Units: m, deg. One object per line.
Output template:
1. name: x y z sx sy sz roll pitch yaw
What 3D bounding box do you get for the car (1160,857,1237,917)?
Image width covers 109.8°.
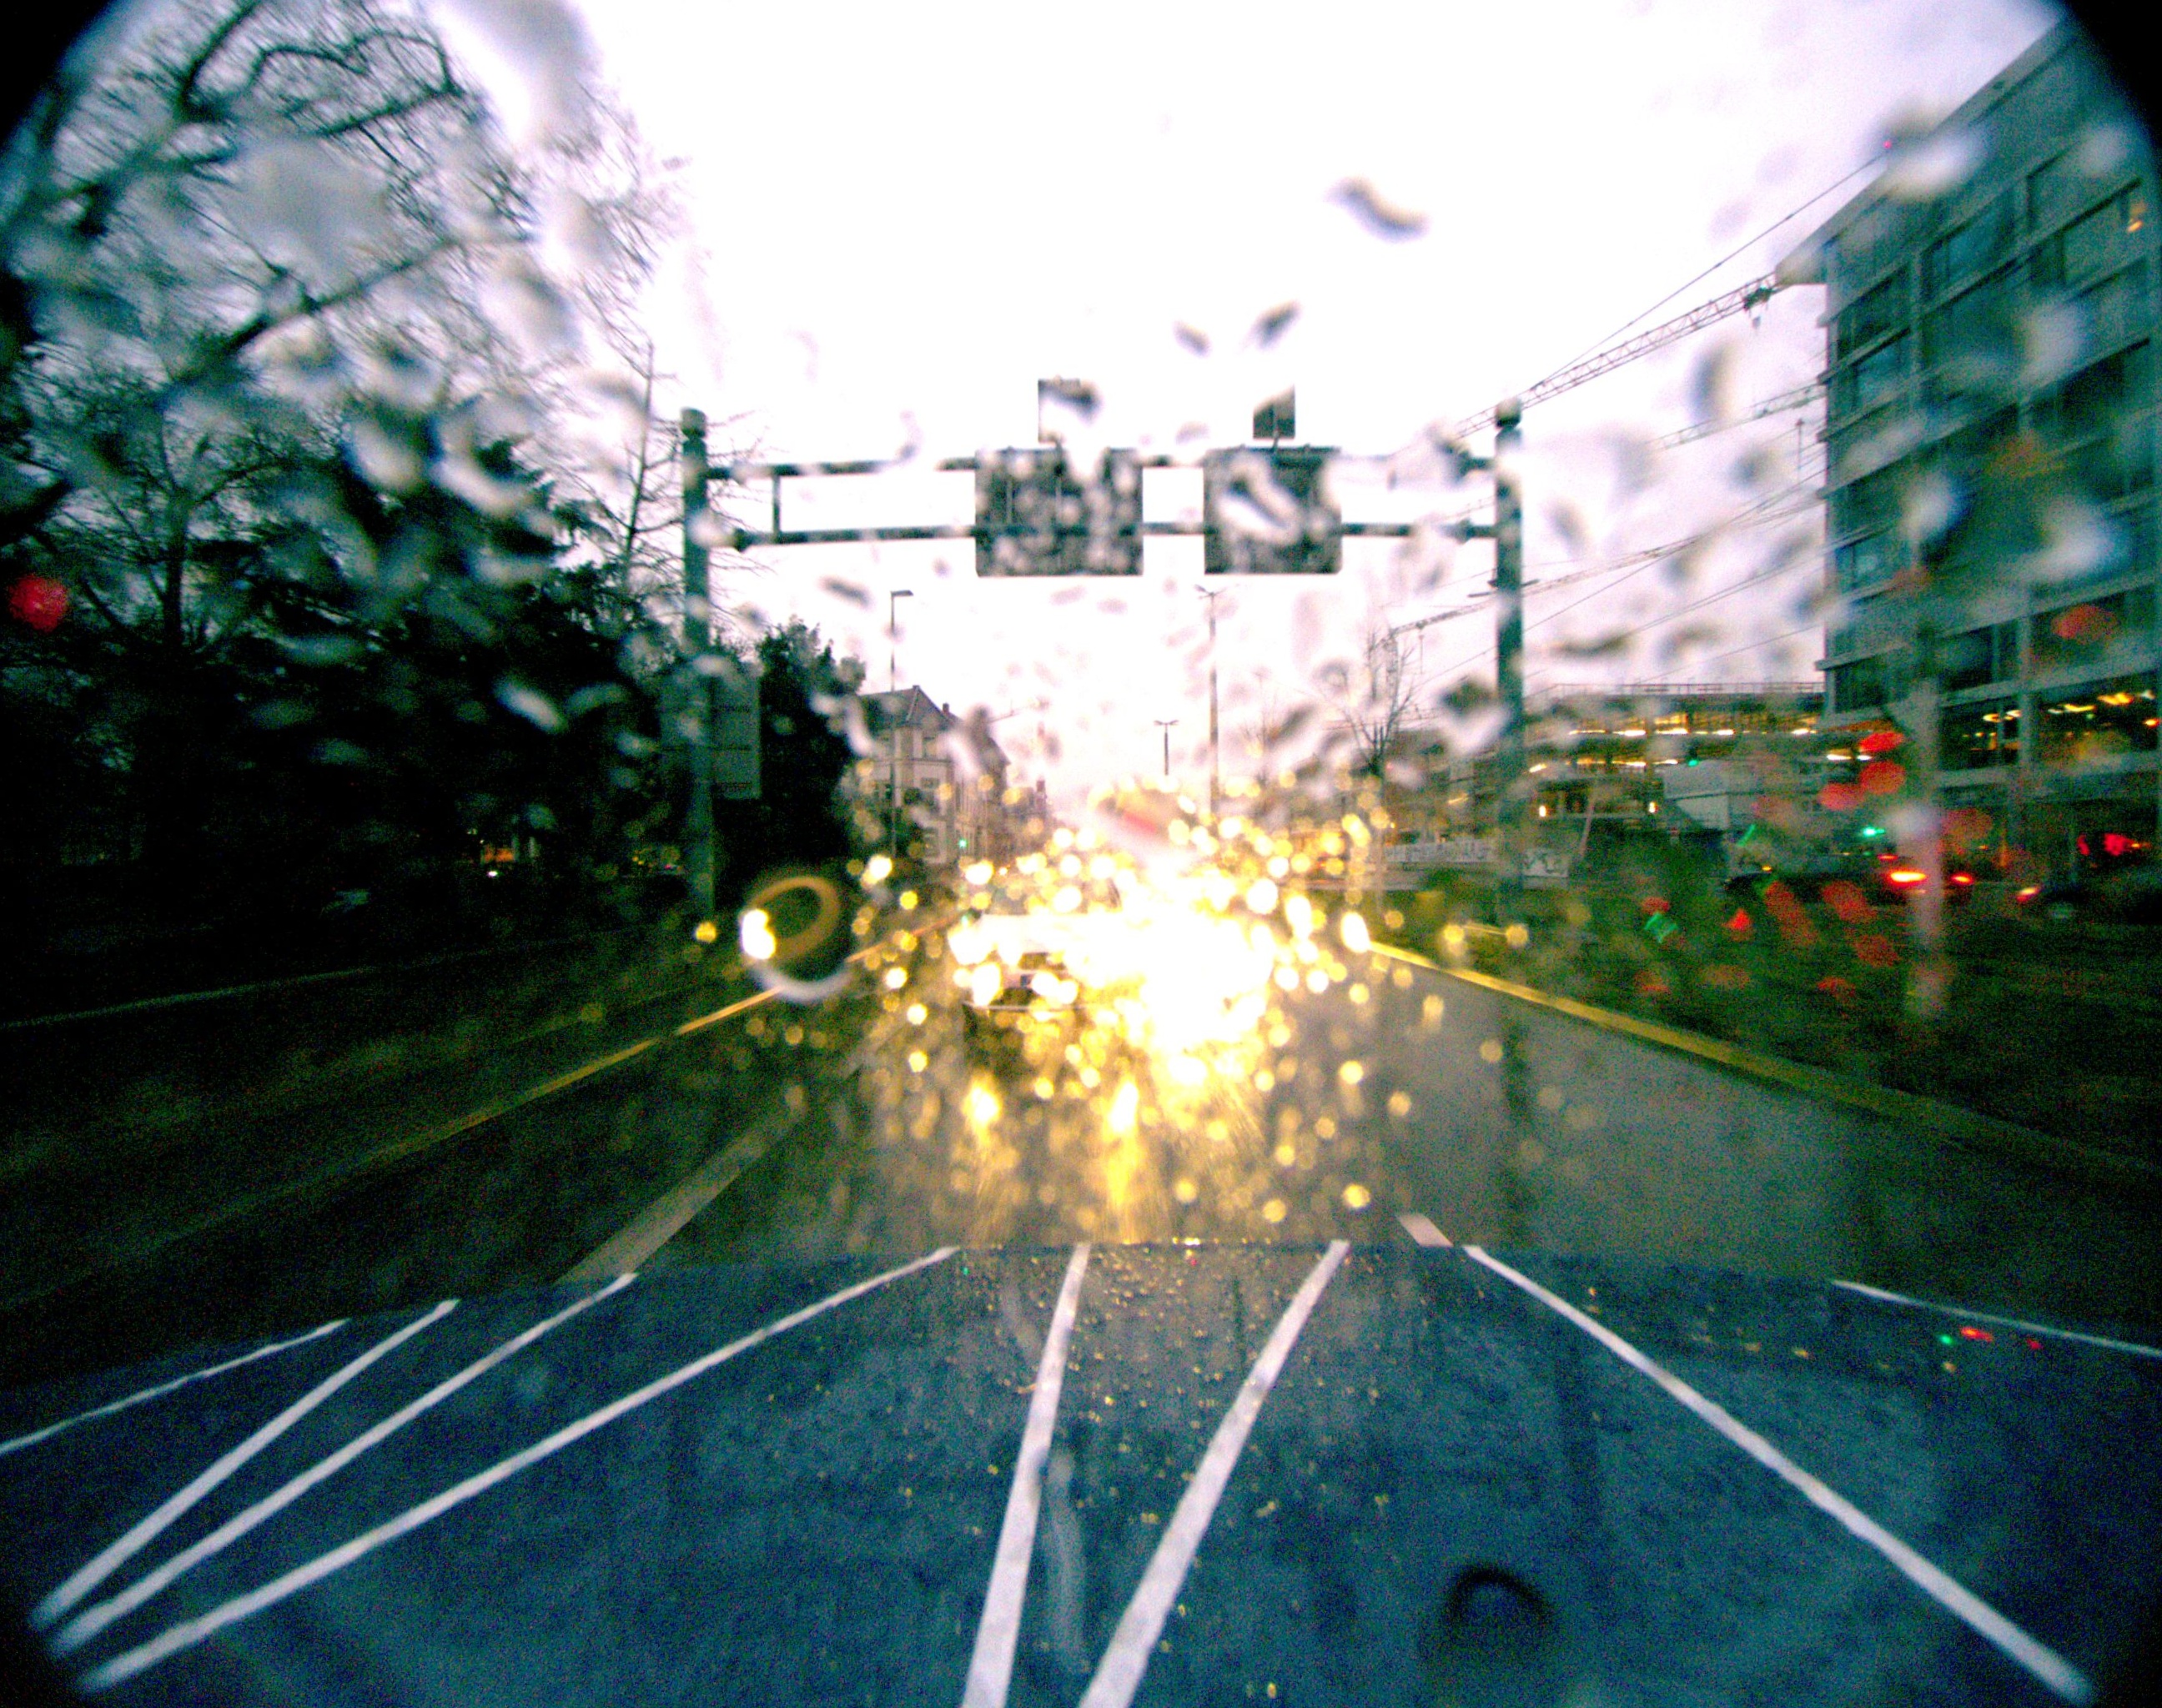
1. car: 3.133 0.831 20.845 1.766 1.363 3.982 -2 1 5

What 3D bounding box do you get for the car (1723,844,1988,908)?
1. car: 20.104 0.509 20.163 1.998 1.459 5.034 -1 0 1

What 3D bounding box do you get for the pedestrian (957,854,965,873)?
1. pedestrian: -9.634 0.774 60.897 0.520 1.501 0.588 0 1 6

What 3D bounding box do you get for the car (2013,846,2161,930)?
1. car: 20.237 0.597 13.354 2.001 1.488 4.444 -1 0 -15

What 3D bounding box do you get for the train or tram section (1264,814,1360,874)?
1. train or tram section: 15.205 -0.569 51.413 2.963 3.466 14.269 -1 0 3

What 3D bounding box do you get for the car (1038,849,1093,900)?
1. car: -0.524 0.675 27.625 1.781 1.666 3.981 -2 1 0

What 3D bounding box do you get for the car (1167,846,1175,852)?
1. car: 29.470 -1.746 249.154 1.998 2.002 4.000 -1 0 1

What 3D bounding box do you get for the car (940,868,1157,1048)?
1. car: -0.276 0.925 8.473 1.798 1.363 3.981 -2 1 0

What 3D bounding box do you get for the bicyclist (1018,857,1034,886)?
1. bicyclist: -2.670 0.839 36.745 0.647 1.381 0.890 -1 1 2

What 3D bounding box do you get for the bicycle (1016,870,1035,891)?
1. bicycle: -2.675 1.269 36.770 0.647 0.961 2.046 -1 0 2

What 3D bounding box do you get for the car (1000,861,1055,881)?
1. car: -4.171 1.297 59.330 4.008 1.403 1.871 -1 0 -44

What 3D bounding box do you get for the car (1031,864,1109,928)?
1. car: -0.257 0.977 19.331 1.728 1.318 3.981 -2 1 0

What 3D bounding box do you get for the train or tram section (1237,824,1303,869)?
1. train or tram section: 16.022 -0.604 65.627 2.963 3.466 14.321 -1 0 3

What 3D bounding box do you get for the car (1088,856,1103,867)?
1. car: 2.044 1.071 108.113 1.767 1.363 3.980 -2 1 -2

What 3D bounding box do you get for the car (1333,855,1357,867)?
1. car: 35.633 0.880 102.582 1.998 1.556 4.001 -1 0 3

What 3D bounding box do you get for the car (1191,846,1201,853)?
1. car: 33.555 -1.269 221.674 1.999 1.812 3.999 -1 0 -1

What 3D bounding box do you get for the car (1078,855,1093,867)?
1. car: 0.628 0.910 97.075 1.767 1.363 3.981 -2 1 3
